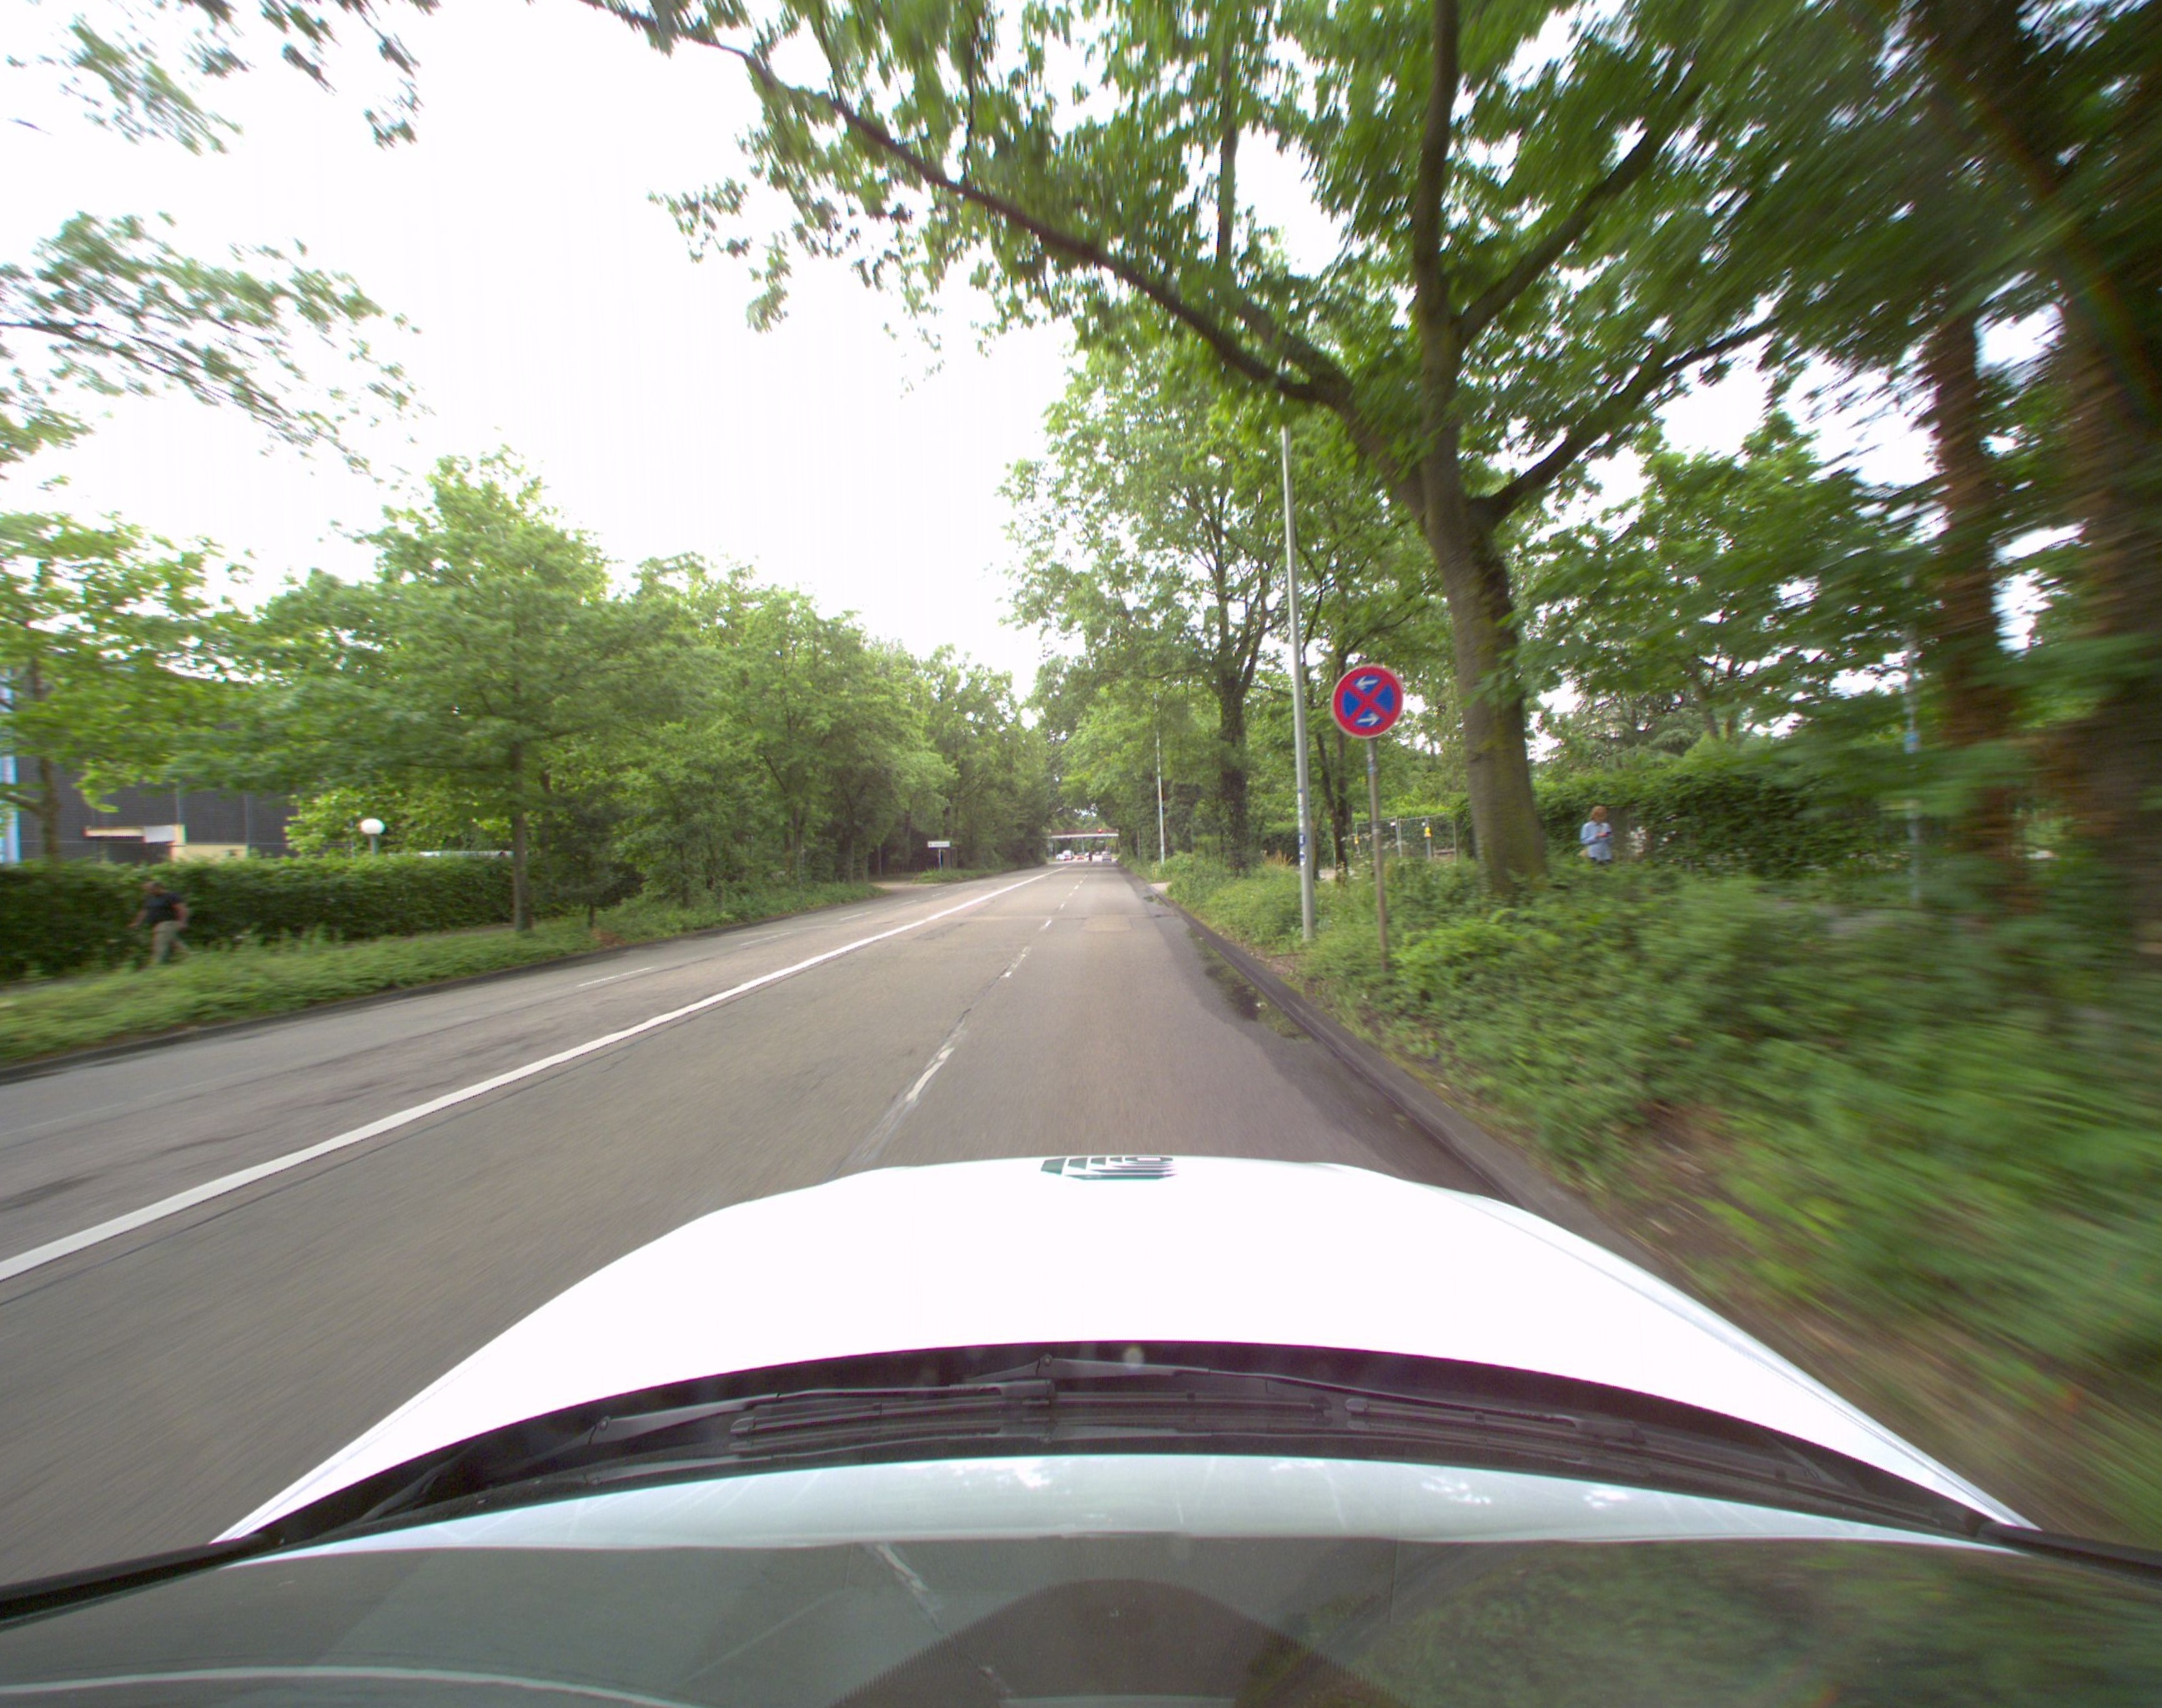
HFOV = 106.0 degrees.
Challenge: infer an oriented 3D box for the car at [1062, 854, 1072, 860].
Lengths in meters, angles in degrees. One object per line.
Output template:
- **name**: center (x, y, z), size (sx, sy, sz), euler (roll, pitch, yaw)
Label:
- **car**: center (-3.215, 0.773, 190.071), size (1.984, 1.354, 3.899), euler (-1, 0, 4)

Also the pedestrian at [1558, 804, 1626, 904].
- **pedestrian**: center (8.820, -0.004, 14.075), size (0.570, 1.651, 0.820), euler (-3, 0, 2)

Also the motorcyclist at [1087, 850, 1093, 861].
- **motorcyclist**: center (1.688, 0.319, 146.735), size (1.059, 2.013, 0.843), euler (-1, 0, 1)

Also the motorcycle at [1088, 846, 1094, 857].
- **motorcycle**: center (1.758, -0.449, 146.910), size (0.986, 1.936, 2.670), euler (-1, 0, 2)

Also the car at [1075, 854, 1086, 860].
- **car**: center (-0.035, 0.735, 189.720), size (1.663, 1.362, 3.934), euler (-1, 0, 12)

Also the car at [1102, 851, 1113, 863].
- **car**: center (4.616, 0.549, 143.371), size (1.836, 2.014, 4.001), euler (-1, -1, 2)
